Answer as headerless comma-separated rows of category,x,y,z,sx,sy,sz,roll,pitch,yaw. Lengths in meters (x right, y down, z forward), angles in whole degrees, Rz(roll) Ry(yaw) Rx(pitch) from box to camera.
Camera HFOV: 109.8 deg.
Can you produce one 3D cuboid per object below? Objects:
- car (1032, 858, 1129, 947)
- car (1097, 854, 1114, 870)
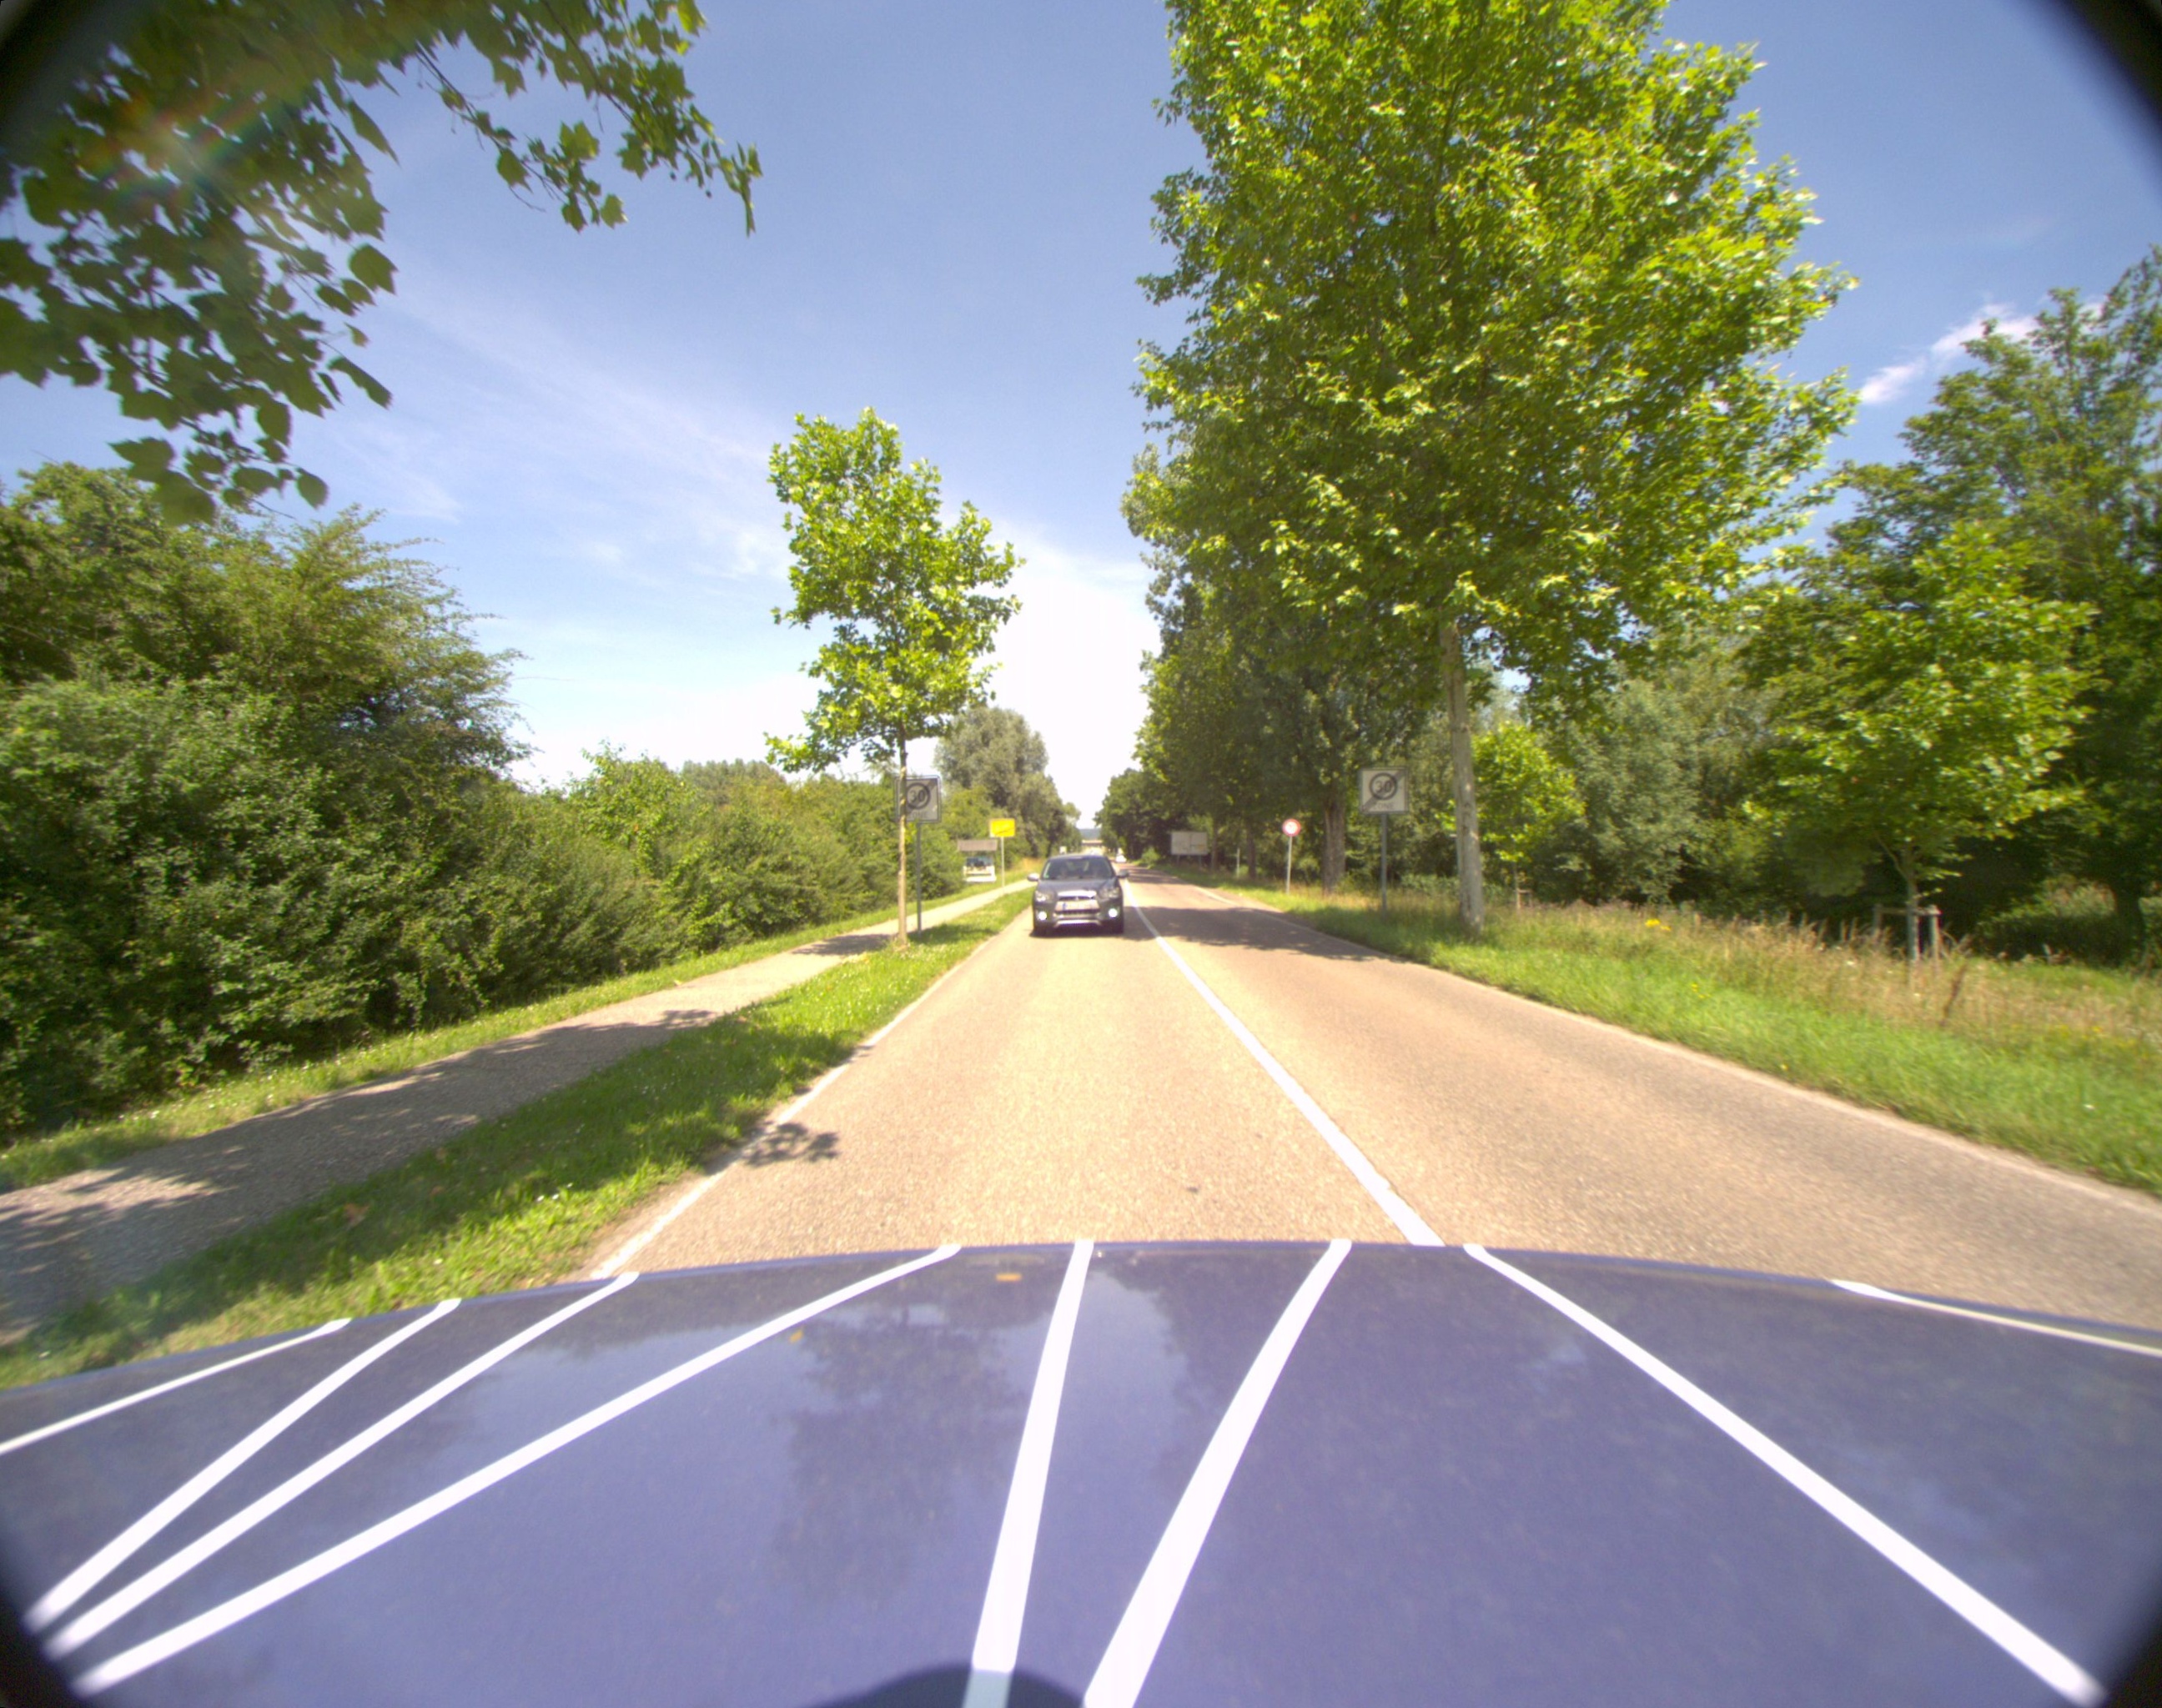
car,0.018,0.906,16.279,1.750,1.525,4.524,-1,1,1
car,2.042,0.694,64.130,1.429,1.270,3.160,-1,0,1
